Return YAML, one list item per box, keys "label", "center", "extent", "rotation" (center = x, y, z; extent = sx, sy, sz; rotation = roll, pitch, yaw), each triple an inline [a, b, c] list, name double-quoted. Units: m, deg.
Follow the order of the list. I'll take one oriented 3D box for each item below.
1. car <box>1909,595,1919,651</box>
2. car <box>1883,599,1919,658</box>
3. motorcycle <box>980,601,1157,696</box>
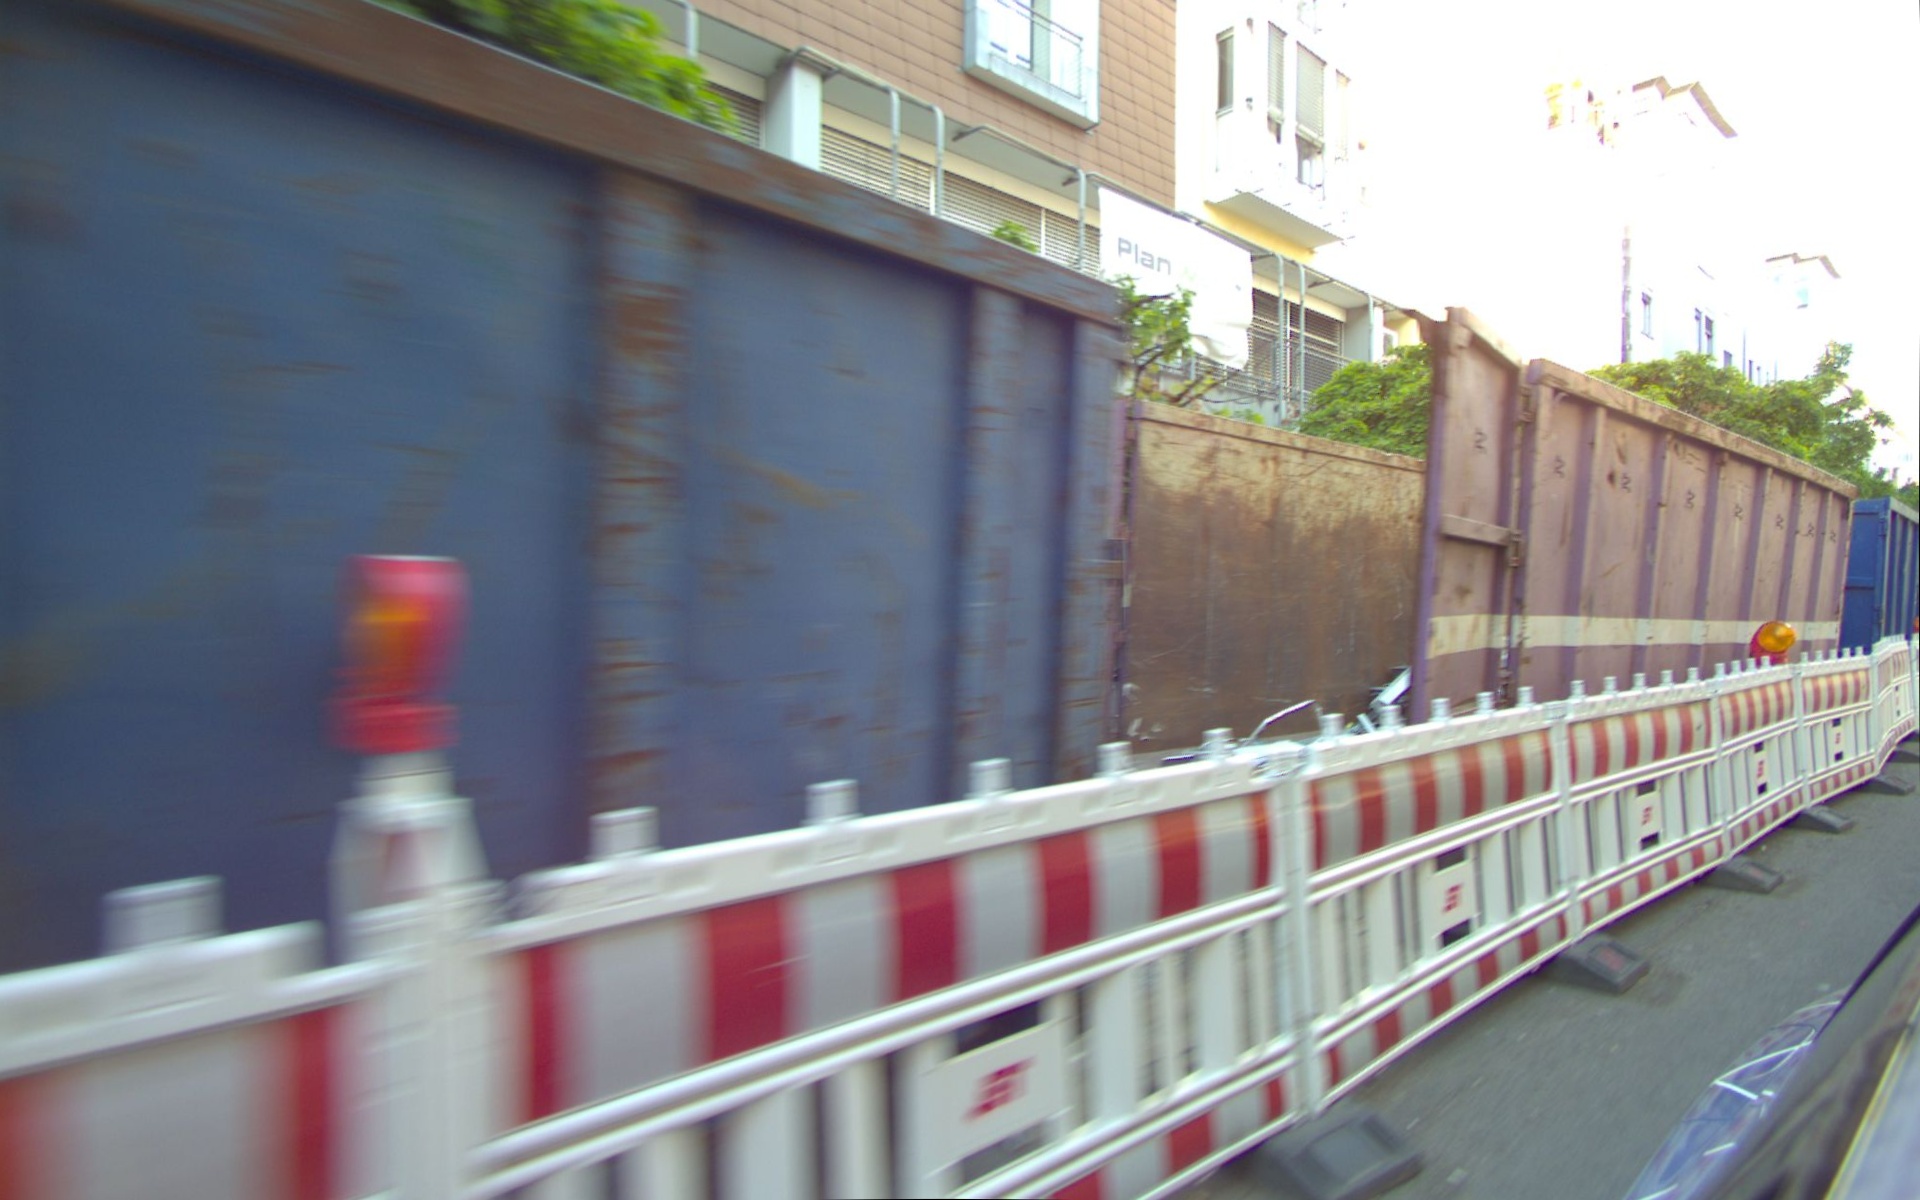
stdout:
- label: "car"
  center: [29.121, 0.650, 29.281]
  extent: [3.928, 1.605, 1.912]
  rotation: [0, 0, -39]
- label: "car"
  center: [25.526, 0.712, 26.340]
  extent: [3.993, 1.465, 1.638]
  rotation: [0, 0, -39]
- label: "motorcycle"
  center: [1.562, 0.660, 14.500]
  extent: [2.406, 1.238, 0.874]
  rotation: [-1, 1, -23]
